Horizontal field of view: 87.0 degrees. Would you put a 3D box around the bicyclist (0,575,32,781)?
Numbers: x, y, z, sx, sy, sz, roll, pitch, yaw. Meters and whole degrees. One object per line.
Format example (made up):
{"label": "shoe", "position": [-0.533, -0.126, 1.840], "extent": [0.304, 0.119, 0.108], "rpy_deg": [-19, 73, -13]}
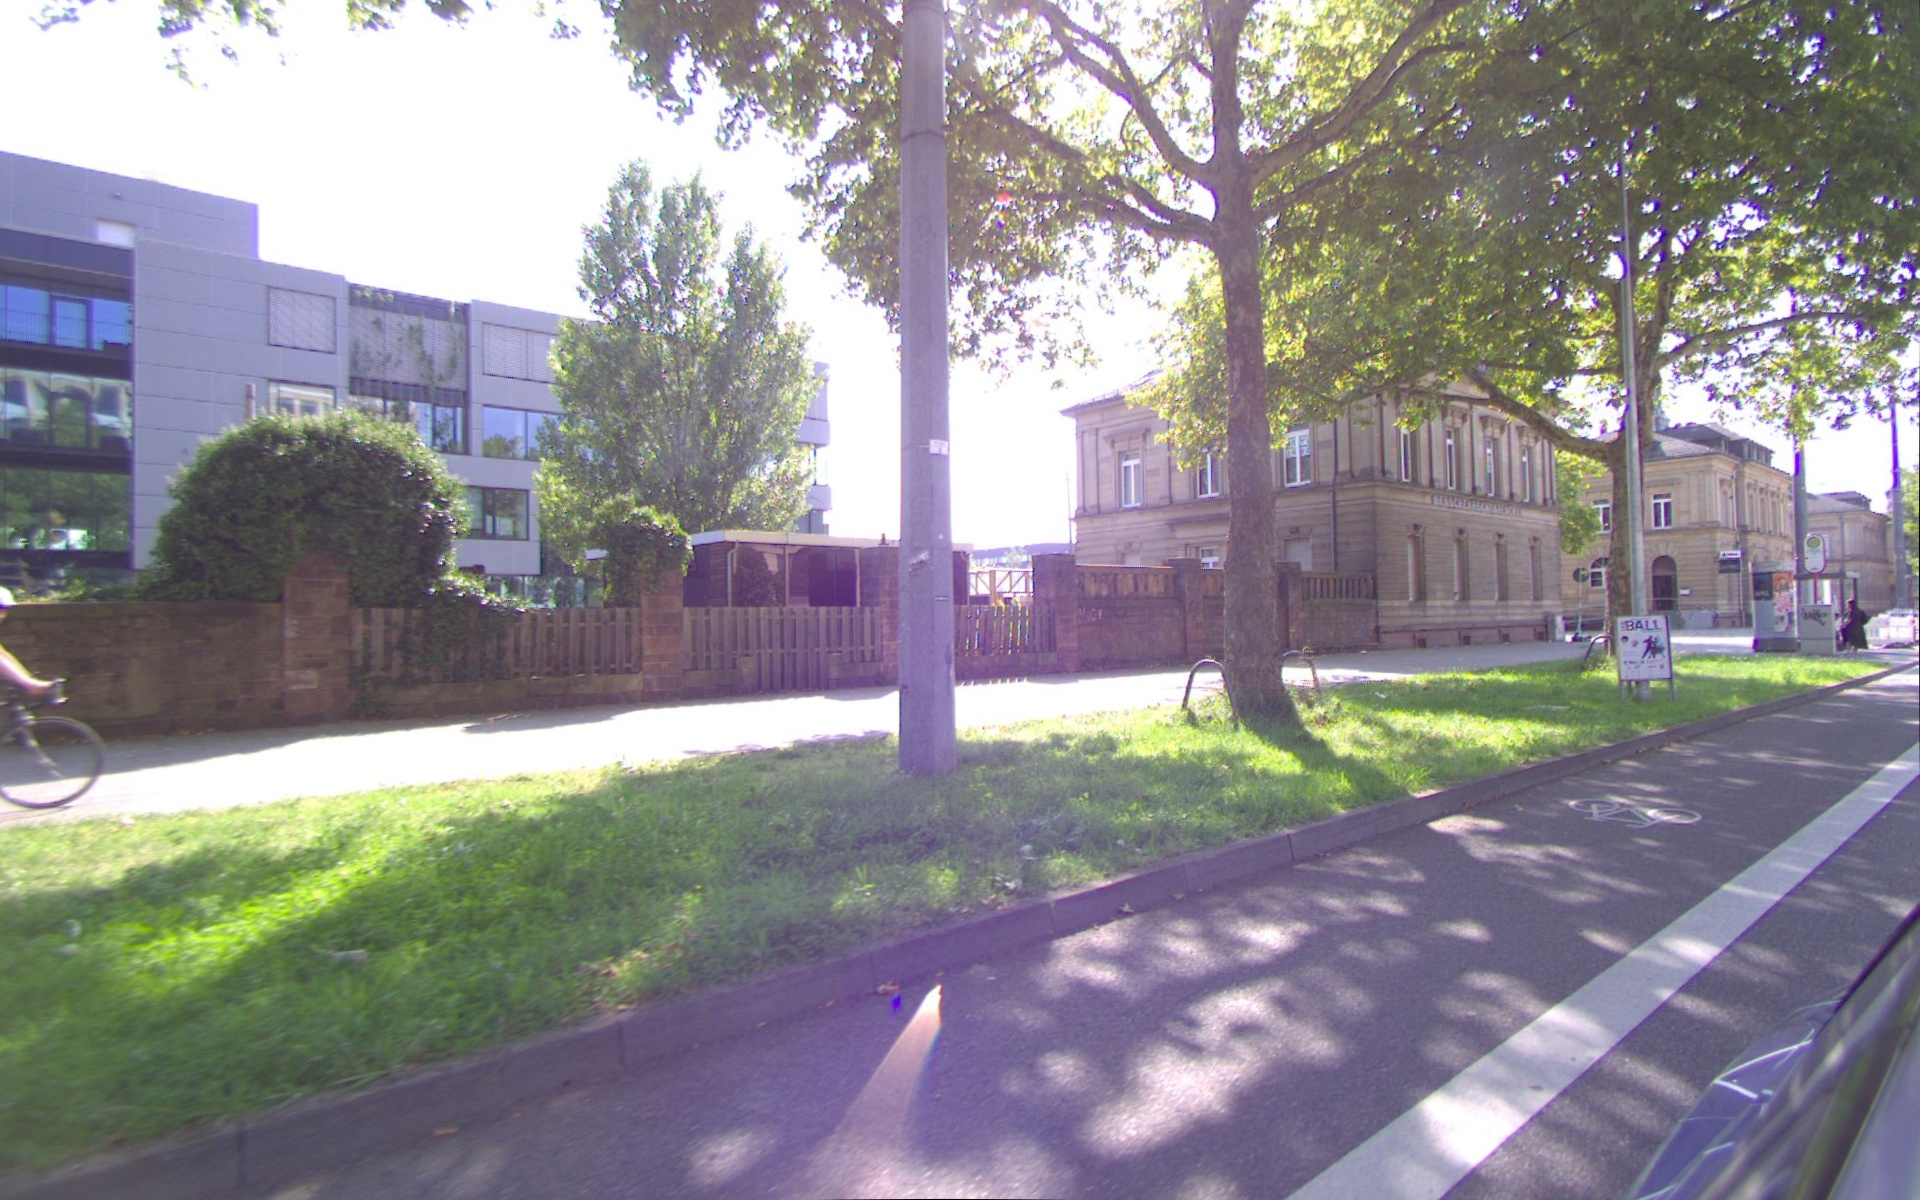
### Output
{"label": "bicyclist", "position": [-7.276, 0.563, 7.294], "extent": [0.827, 1.472, 0.549], "rpy_deg": [0, -2, -40]}

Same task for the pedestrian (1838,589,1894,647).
{"label": "pedestrian", "position": [26.319, 0.536, 29.402], "extent": [0.871, 1.647, 0.819], "rpy_deg": [-1, -2, 15]}

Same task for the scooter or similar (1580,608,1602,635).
{"label": "scooter or similar", "position": [28.332, 0.966, 45.446], "extent": [1.203, 1.181, 0.410], "rpy_deg": [0, -2, -36]}

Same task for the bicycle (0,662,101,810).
{"label": "bicycle", "position": [-7.286, 1.003, 7.272], "extent": [1.683, 1.020, 0.549], "rpy_deg": [0, -1, -40]}

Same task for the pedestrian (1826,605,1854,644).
{"label": "pedestrian", "position": [28.007, 0.779, 32.210], "extent": [0.564, 1.233, 0.609], "rpy_deg": [1, -1, -43]}
